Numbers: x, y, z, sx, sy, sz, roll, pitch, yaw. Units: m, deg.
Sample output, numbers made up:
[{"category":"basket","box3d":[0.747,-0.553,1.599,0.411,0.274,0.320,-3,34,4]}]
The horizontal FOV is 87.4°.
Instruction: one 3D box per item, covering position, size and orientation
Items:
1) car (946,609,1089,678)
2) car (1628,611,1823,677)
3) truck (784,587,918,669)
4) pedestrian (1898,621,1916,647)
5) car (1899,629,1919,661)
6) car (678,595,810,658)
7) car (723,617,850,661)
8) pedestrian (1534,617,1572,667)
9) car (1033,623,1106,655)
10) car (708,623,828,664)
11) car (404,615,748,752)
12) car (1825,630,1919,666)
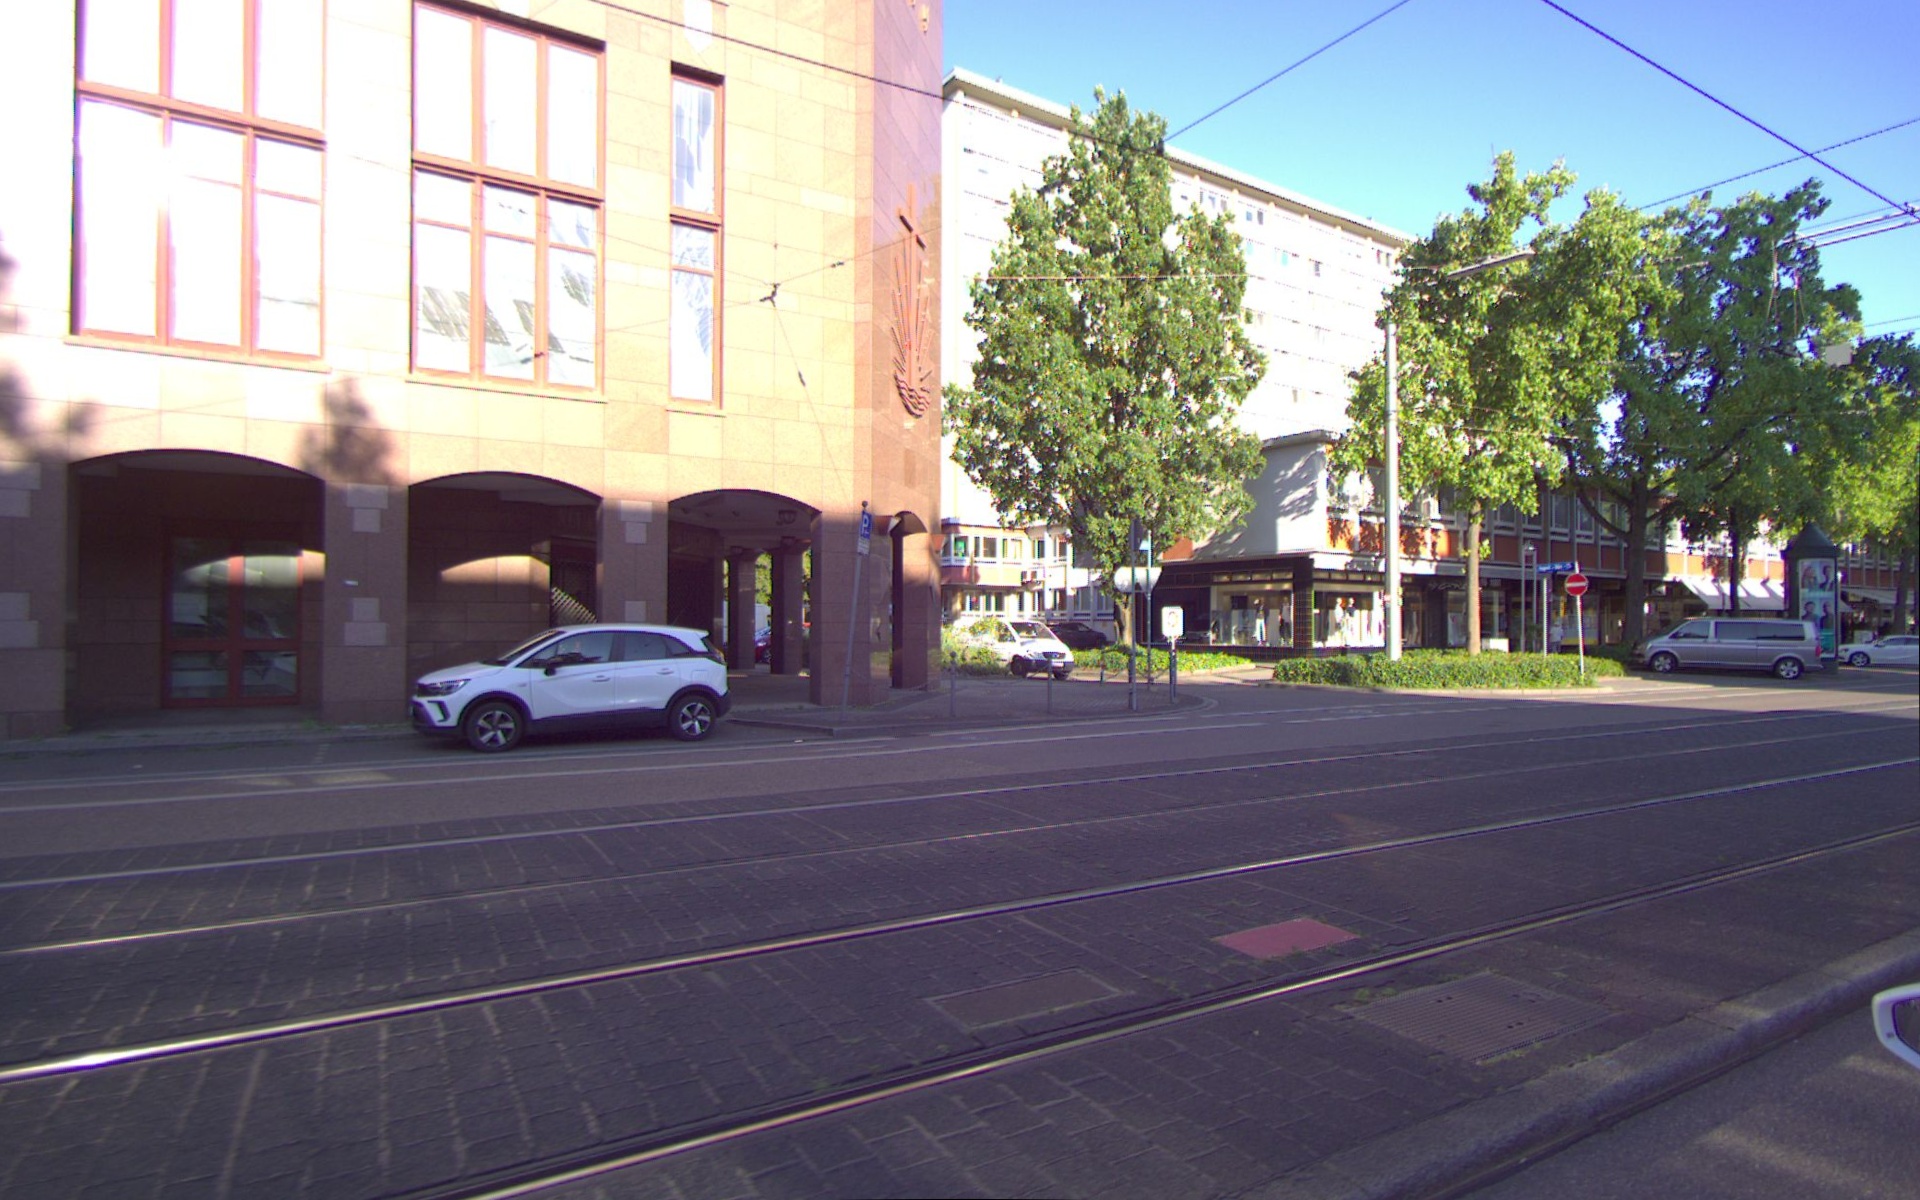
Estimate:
[{"category":"car","box3d":[1.746,1.388,32.471,2.109,1.993,4.953,4,-3,-31]},{"category":"car","box3d":[26.029,1.453,34.426,5.029,1.954,1.851,2,0,29]},{"category":"truck","box3d":[-3.904,1.003,36.247,4.485,2.800,1.838,1,-1,-35]},{"category":"pedestrian","box3d":[65.138,2.322,69.073,0.589,1.745,0.648,0,1,-11]},{"category":"car","box3d":[50.533,2.326,50.740,4.203,1.587,1.824,1,-1,30]},{"category":"car","box3d":[-9.374,1.154,43.826,5.356,2.577,1.840,1,-1,-33]},{"category":"car","box3d":[-6.644,1.488,38.663,4.485,1.594,1.838,1,-2,-35]},{"category":"pedestrian","box3d":[23.045,1.627,39.044,0.901,1.902,0.900,0,-1,-2]},{"category":"car","box3d":[6.431,2.275,58.984,3.956,1.817,1.983,1,-2,-32]},{"category":"car","box3d":[-7.833,1.744,41.163,4.485,1.594,1.838,1,-2,-35]},{"category":"car","box3d":[-5.251,1.052,13.948,4.231,1.611,1.586,1,0,-32]},{"category":"car","box3d":[41.766,2.168,45.073,4.193,1.448,1.763,1,0,30]}]
